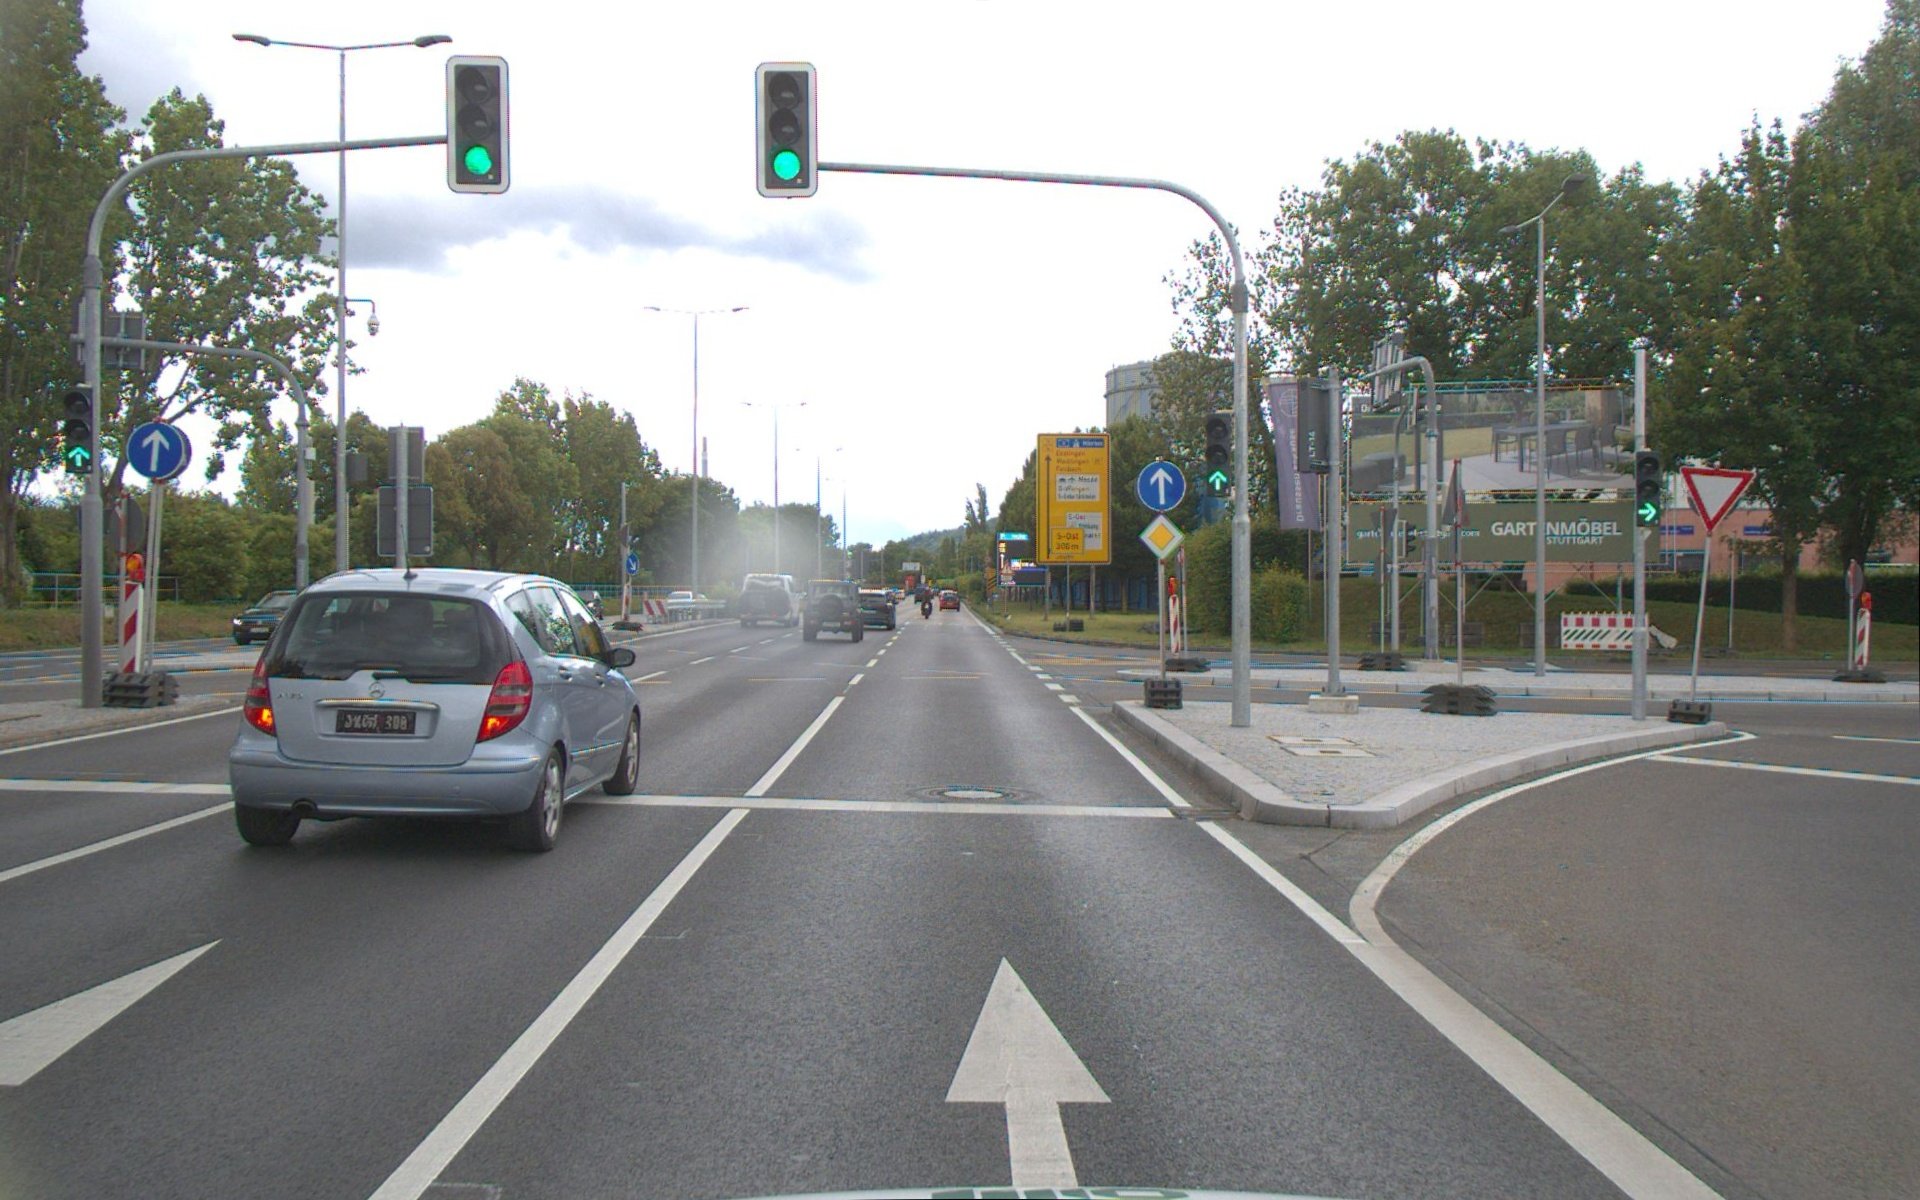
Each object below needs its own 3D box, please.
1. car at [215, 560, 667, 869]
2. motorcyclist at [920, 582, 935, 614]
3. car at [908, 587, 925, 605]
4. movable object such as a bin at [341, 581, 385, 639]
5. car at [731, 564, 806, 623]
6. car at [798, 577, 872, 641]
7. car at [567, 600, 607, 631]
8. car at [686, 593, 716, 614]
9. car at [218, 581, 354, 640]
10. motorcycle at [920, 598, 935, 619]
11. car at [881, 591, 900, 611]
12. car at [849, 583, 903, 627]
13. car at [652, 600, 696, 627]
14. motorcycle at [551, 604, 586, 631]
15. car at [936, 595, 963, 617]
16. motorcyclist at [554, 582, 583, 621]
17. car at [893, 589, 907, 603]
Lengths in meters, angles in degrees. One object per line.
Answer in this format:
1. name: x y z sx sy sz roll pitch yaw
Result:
1. car: -3.066 0.574 10.652 1.676 1.556 3.999 2 1 -1
2. motorcyclist: -1.723 -0.115 88.101 0.670 1.638 0.845 2 0 1
3. car: -5.193 -0.485 199.020 1.953 2.048 4.000 2 1 -1
4. movable object such as a bin: -11.438 0.189 31.704 0.530 1.077 0.741 2 0 -1
5. car: -6.927 -0.260 60.312 2.170 1.959 5.001 2 1 -1
6. car: -3.557 0.220 47.747 1.869 1.713 3.999 2 1 -2
7. car: -19.449 0.779 86.309 1.443 1.488 2.737 2 1 -1
8. car: -22.477 0.322 143.393 1.953 1.668 4.000 2 1 -1
9. car: -18.796 0.253 46.369 1.953 1.578 4.568 0 1 0
10. motorcycle: -1.739 0.450 88.109 0.692 1.058 2.027 2 1 1
11. car: -7.621 0.135 182.105 1.953 2.048 4.000 2 1 -1
12. car: -3.087 0.169 61.451 1.803 1.489 3.999 2 1 -1
13. car: -18.020 0.828 104.485 1.953 1.519 4.804 2 1 -1
14. motorcycle: -16.179 0.732 68.353 0.894 1.006 2.162 2 -2 -1
15. car: -0.842 0.464 132.157 1.953 1.579 3.999 2 1 -2
16. motorcyclist: -16.157 0.056 68.332 0.894 1.548 0.980 2 -3 -1
17. car: -9.175 -0.596 253.885 1.953 2.048 4.000 2 1 0
